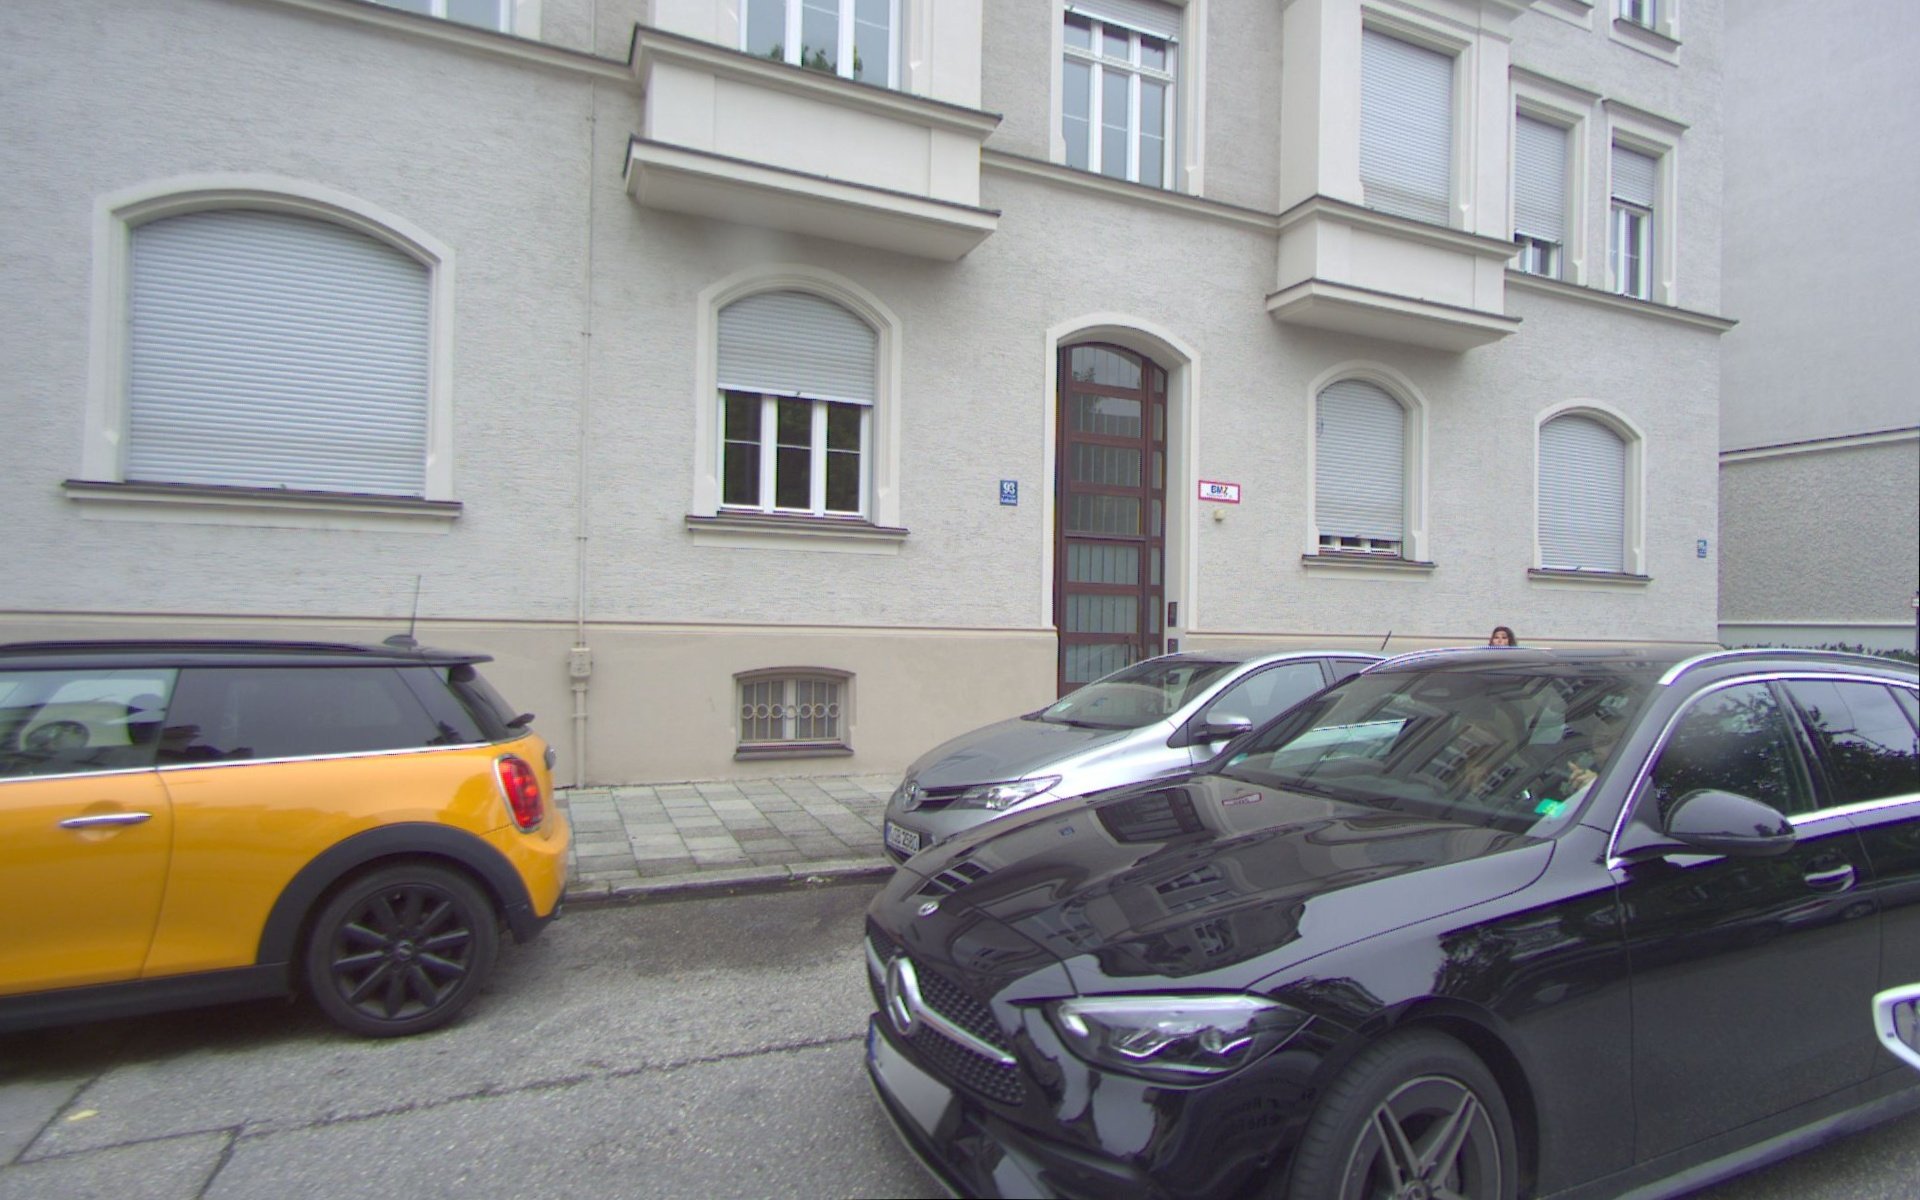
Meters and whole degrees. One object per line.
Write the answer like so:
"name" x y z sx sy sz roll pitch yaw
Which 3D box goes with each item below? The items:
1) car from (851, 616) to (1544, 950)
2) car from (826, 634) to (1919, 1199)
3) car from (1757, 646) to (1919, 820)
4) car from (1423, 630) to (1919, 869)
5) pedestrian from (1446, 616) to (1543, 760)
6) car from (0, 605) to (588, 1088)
"car" 1.448 0.935 6.158 3.874 1.519 1.722 2 -3 -23
"car" 1.918 0.859 3.373 4.350 1.447 1.869 1 -2 -26
"car" 10.213 1.239 10.004 4.216 1.519 1.832 2 -4 -25
"car" 5.932 1.018 7.850 4.213 1.456 1.833 1 -4 -23
"pedestrian" 6.585 1.055 12.386 0.690 1.701 0.790 2 -1 -24
"car" -3.544 0.817 3.859 3.914 1.519 1.638 1 -4 -22
